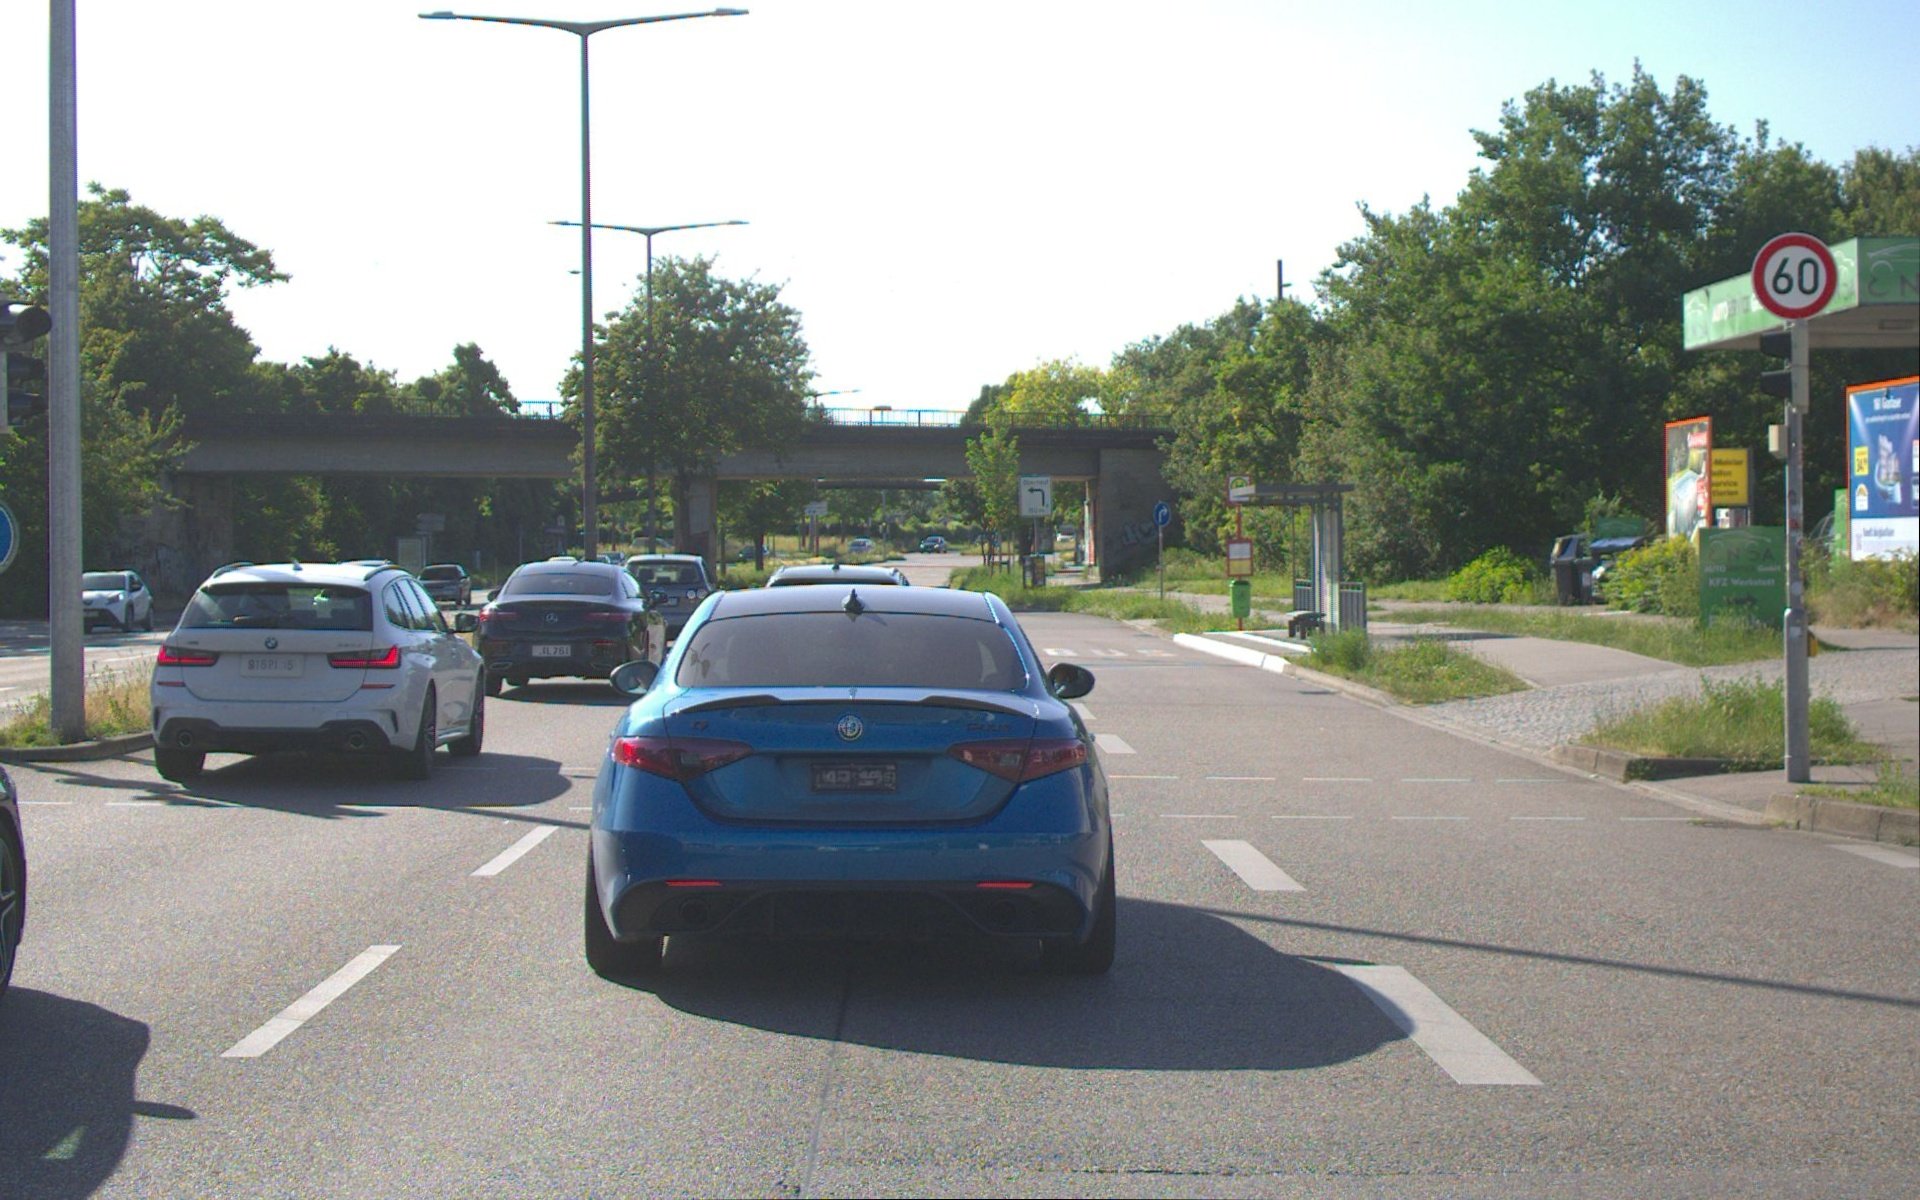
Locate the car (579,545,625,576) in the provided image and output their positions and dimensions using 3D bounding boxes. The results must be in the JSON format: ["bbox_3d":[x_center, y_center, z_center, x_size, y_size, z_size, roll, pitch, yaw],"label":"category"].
[{"bbox_3d":[-17.735,-1.942,170.405,1.817,1.430,4.631,-3,0,-1],"label":"car"}]

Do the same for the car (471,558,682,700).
[{"bbox_3d":[-4.168,0.282,37.991,1.883,1.449,4.526,1,0,-1],"label":"car"}]

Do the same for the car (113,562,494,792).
[{"bbox_3d":[-4.522,0.475,24.349,1.883,1.449,4.526,1,0,-1],"label":"car"}]

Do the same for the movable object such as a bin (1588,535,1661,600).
[{"bbox_3d":[14.664,-0.726,75.873,0.986,1.423,1.260,-1,1,-43],"label":"movable object such as a bin"}]

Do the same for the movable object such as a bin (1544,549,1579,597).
[{"bbox_3d":[13.482,-0.611,77.051,0.580,1.071,0.510,-1,1,-42],"label":"movable object such as a bin"}]

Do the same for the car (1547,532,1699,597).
[{"bbox_3d":[15.744,-0.833,81.749,3.284,1.481,1.772,1,0,1],"label":"car"}]

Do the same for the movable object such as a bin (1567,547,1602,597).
[{"bbox_3d":[13.936,-0.623,76.706,0.580,1.117,0.510,-1,1,-42],"label":"movable object such as a bin"}]

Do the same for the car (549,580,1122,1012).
[{"bbox_3d":[-0.447,0.640,13.540,1.883,1.401,4.224,1,0,-1],"label":"car"}]

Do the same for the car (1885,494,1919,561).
[{"bbox_3d":[23.816,-1.774,80.083,4.037,1.526,1.734,-3,0,1],"label":"car"}]

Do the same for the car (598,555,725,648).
[{"bbox_3d":[-4.893,0.002,56.860,1.779,1.449,4.182,-1,1,-1],"label":"car"}]

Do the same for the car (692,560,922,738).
[{"bbox_3d":[-1.305,0.386,30.780,1.883,1.449,4.526,1,0,-1],"label":"car"}]

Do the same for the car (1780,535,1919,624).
[{"bbox_3d":[16.532,-0.397,63.533,1.744,1.567,4.248,-1,1,0],"label":"car"}]

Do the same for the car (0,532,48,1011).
[{"bbox_3d":[-4.008,0.570,9.850,1.708,1.592,4.224,1,0,-1],"label":"car"}]

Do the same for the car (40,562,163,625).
[{"bbox_3d":[-20.942,-0.170,84.015,1.993,1.469,4.196,-1,0,-1],"label":"car"}]

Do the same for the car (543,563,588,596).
[{"bbox_3d":[-18.244,-0.970,159.094,1.641,1.446,4.112,-3,0,-1],"label":"car"}]
